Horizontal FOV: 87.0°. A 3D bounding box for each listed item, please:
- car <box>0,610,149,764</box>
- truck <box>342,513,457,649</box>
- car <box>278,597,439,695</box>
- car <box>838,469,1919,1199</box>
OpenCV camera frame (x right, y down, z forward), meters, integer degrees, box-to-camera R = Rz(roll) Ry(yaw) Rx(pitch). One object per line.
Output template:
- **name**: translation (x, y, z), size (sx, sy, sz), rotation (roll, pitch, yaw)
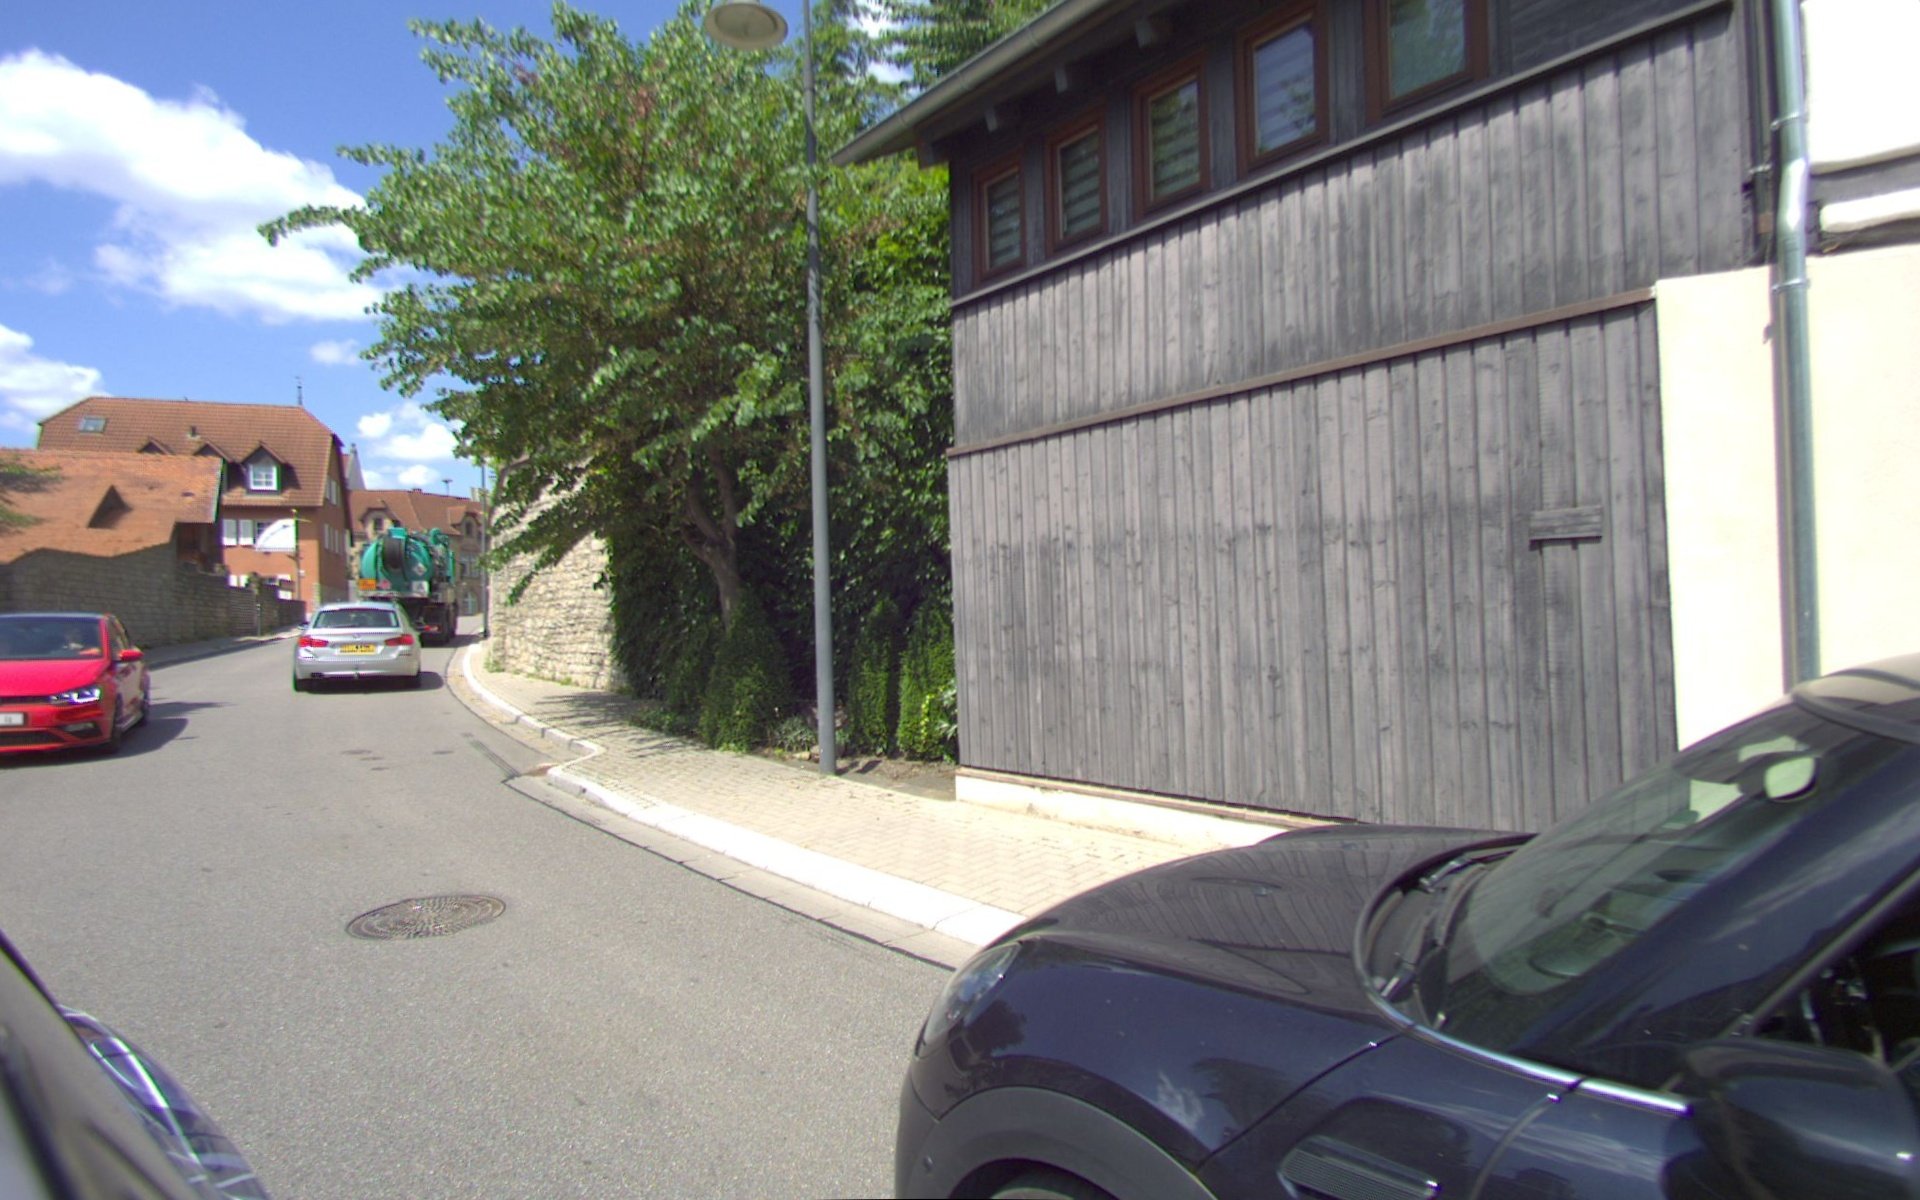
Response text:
- **car**: translation (-9.595, 0.792, 10.401), size (1.643, 1.362, 3.504), rotation (0, -1, -33)
- **truck**: translation (-17.610, -0.549, 32.310), size (2.377, 3.685, 9.599), rotation (1, 0, -24)
- **car**: translation (-10.570, 0.748, 18.112), size (1.868, 1.512, 4.629), rotation (0, -1, -23)
- **car**: translation (2.000, 0.598, 0.791), size (4.435, 1.476, 1.680), rotation (-1, 2, 43)
